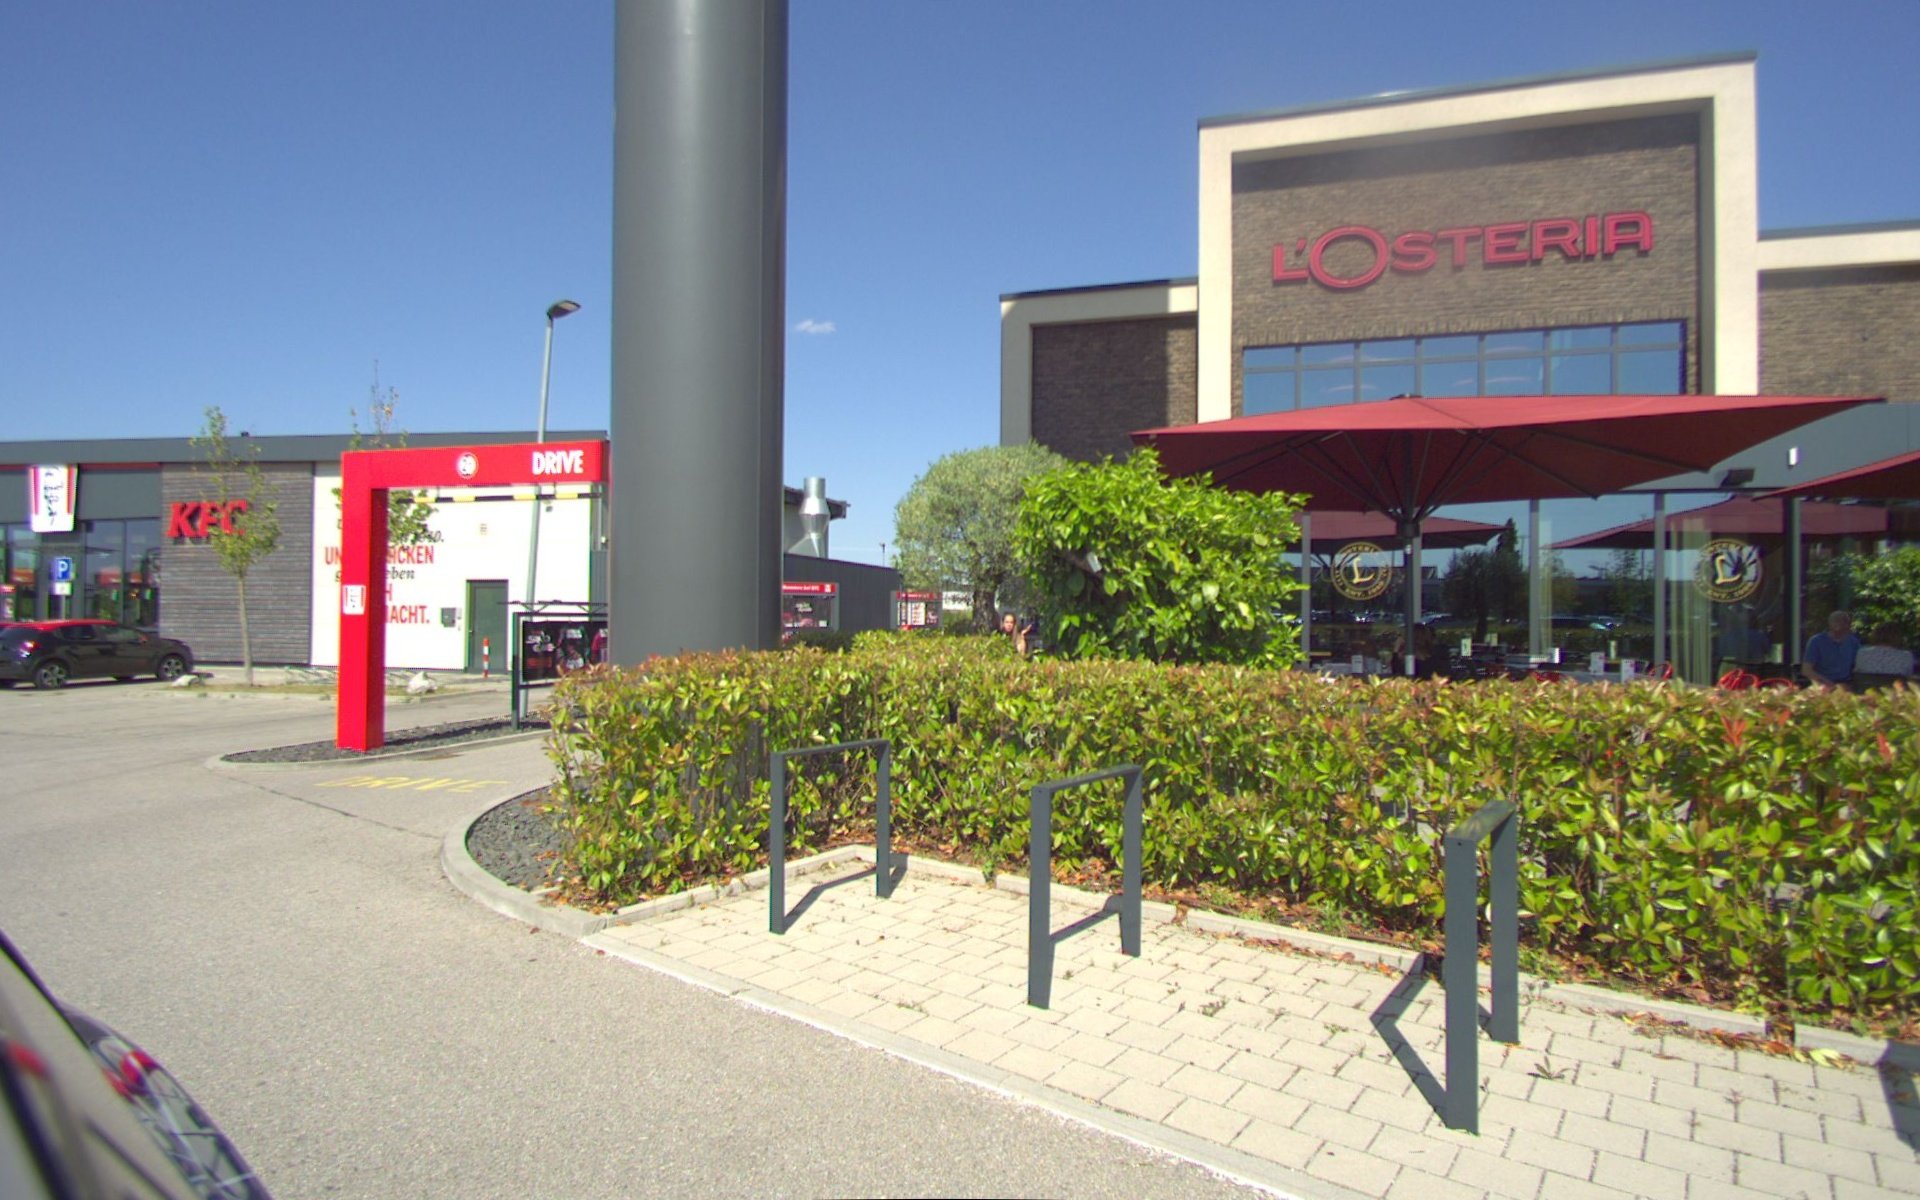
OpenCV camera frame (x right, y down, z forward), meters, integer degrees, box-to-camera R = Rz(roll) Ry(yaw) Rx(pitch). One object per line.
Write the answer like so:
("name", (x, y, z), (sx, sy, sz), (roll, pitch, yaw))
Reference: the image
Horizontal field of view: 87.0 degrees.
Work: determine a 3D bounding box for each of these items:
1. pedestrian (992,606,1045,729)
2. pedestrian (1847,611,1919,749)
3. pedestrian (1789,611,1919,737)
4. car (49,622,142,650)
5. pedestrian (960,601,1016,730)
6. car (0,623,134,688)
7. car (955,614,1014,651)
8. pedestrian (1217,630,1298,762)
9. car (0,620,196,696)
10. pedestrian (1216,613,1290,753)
("pedestrian", (0.747, 0.848, 12.881), (0.563, 1.516, 0.523), (-1, -2, 14))
("pedestrian", (8.610, 0.707, 9.234), (0.698, 1.207, 0.618), (1, -2, -37))
("pedestrian", (8.955, 0.728, 10.160), (0.660, 1.207, 0.708), (-1, -2, 9))
("car", (-50.771, 2.106, 59.537), (3.932, 1.564, 1.760), (0, -2, -31))
("pedestrian", (0.345, 0.786, 12.316), (0.563, 1.516, 0.523), (-1, -2, 14))
("car", (-22.385, 1.301, 23.877), (1.723, 1.423, 4.382), (-1, -1, 14))
("car", (1.138, 1.394, 44.538), (1.724, 1.518, 3.889), (-1, -1, 15))
("pedestrian", (2.796, 0.886, 9.563), (0.474, 1.194, 0.652), (0, -2, -9))
("car", (-19.819, 1.232, 22.851), (1.724, 1.518, 3.889), (-1, -1, 15))
("pedestrian", (2.985, 0.831, 10.350), (0.474, 1.377, 0.652), (0, -2, -9))
